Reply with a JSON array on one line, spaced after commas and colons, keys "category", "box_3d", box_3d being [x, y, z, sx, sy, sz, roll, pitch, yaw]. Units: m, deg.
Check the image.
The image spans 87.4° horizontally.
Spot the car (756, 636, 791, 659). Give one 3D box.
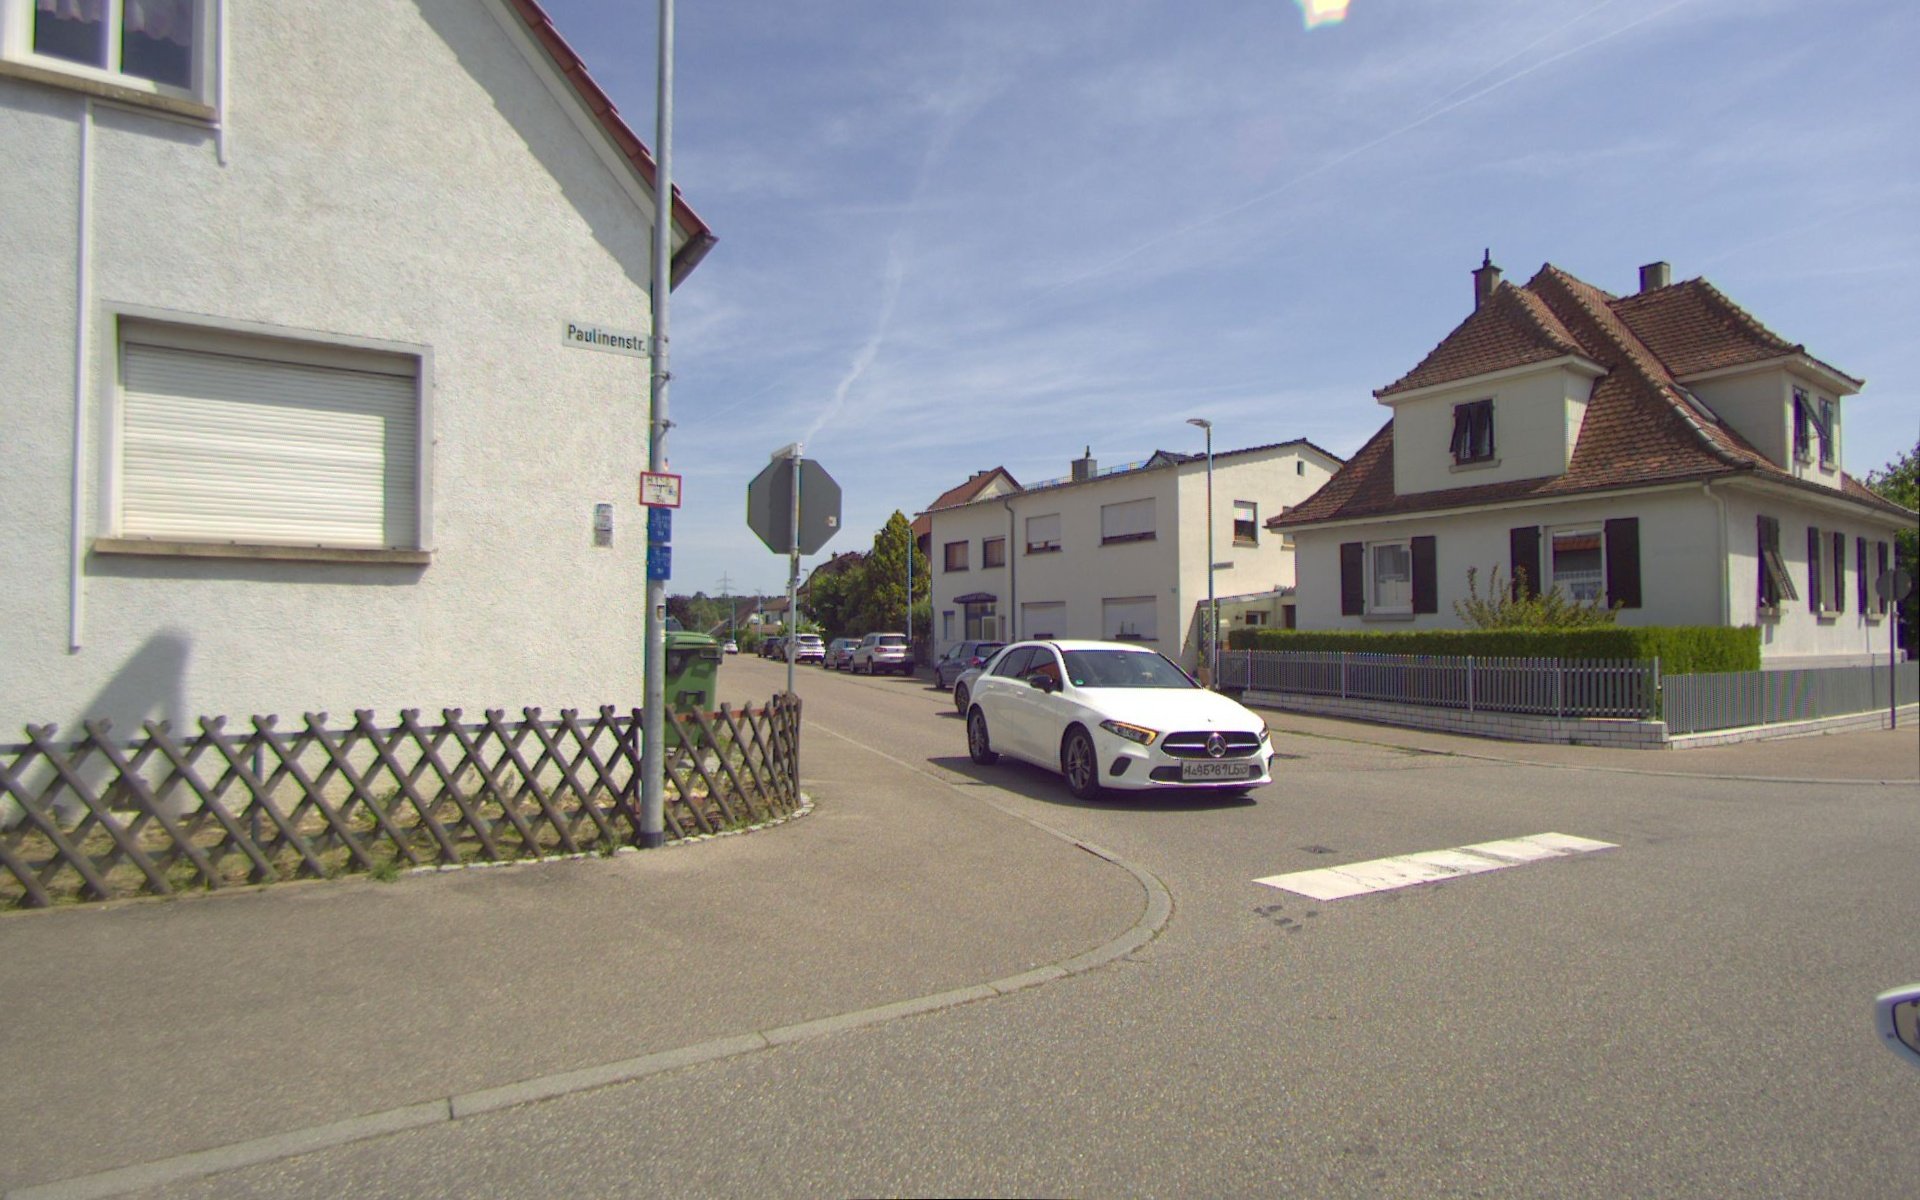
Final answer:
[{"category": "car", "box_3d": [-12.846, 3.232, 68.994, 1.749, 1.511, 3.759, 1, -2, -20]}]

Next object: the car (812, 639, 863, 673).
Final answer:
[{"category": "car", "box_3d": [-5.748, 2.581, 46.719, 1.497, 1.484, 3.509, 2, -2, -22]}]

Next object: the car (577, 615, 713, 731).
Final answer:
[{"category": "car", "box_3d": [-5.102, 1.146, 16.543, 1.762, 1.567, 4.264, 5, -3, -16]}]

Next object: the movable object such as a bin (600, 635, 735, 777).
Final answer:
[{"category": "movable object such as a bin", "box_3d": [-3.039, 1.053, 10.360, 1.150, 1.331, 1.260, 2, -2, -24]}]

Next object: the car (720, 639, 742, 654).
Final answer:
[{"category": "car", "box_3d": [-23.673, 4.795, 103.851, 1.749, 1.511, 3.759, 1, -2, -20]}]

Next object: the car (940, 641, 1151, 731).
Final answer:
[{"category": "car", "box_3d": [1.444, 1.520, 18.910, 1.737, 1.456, 4.554, 2, -3, -29]}]

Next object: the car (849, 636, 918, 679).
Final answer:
[{"category": "car", "box_3d": [-3.148, 2.294, 40.718, 1.749, 1.672, 3.757, 1, -2, -21]}]

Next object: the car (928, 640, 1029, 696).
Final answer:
[{"category": "car", "box_3d": [0.476, 1.961, 29.628, 1.749, 1.511, 3.759, 1, -2, -20]}]

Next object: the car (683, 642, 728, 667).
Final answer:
[{"category": "car", "box_3d": [-13.204, 2.791, 51.939, 1.756, 1.193, 3.980, 2, -2, -21]}]

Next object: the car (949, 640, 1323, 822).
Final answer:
[{"category": "car", "box_3d": [1.498, 1.148, 10.415, 1.900, 1.416, 4.476, 1, -2, -19]}]

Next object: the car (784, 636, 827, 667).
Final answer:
[{"category": "car", "box_3d": [-8.779, 2.894, 56.891, 1.749, 1.672, 3.759, 1, -2, -20]}]
